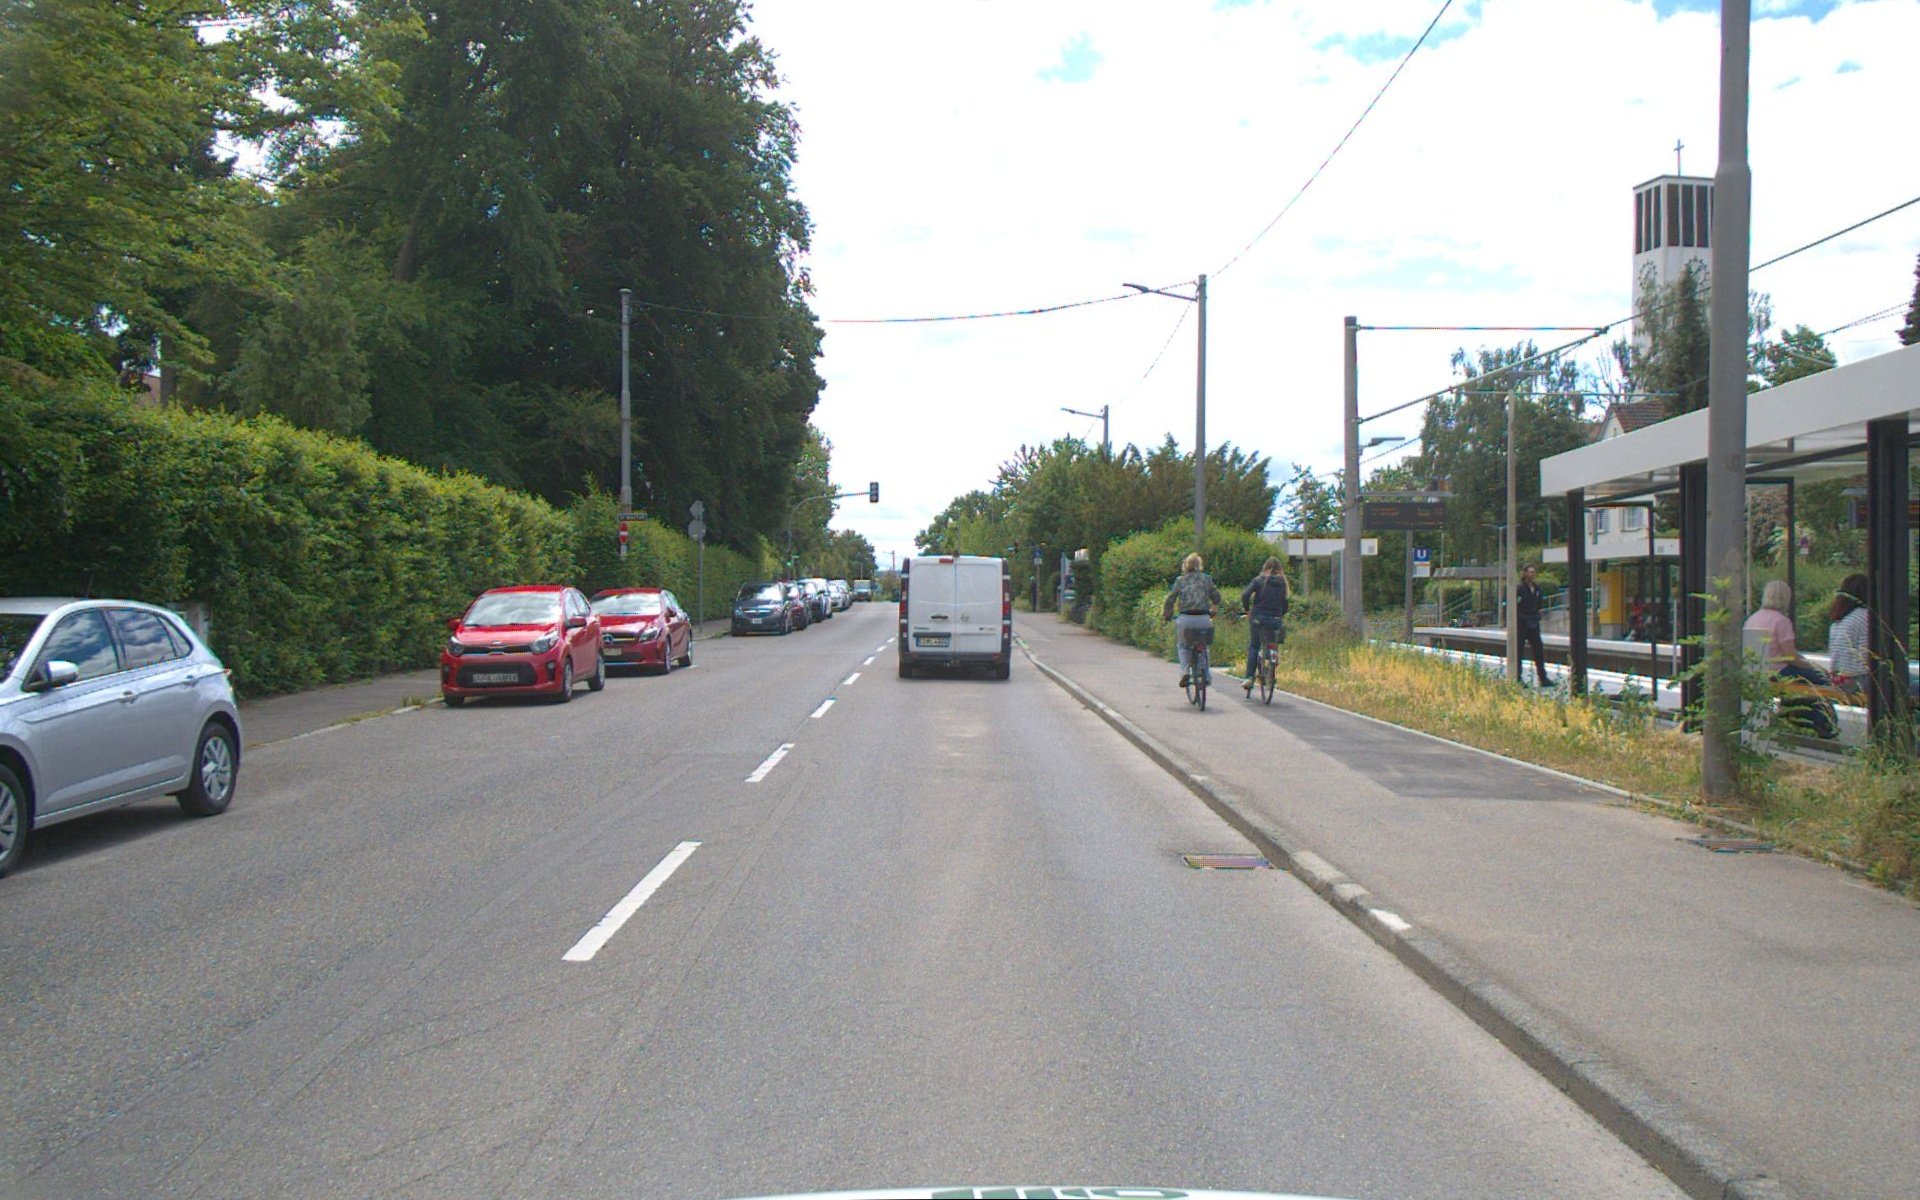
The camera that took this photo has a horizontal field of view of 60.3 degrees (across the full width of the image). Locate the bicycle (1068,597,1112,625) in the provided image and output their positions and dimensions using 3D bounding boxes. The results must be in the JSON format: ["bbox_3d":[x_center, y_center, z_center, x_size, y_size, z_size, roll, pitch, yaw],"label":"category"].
[{"bbox_3d":[5.005,0.429,63.694,1.664,1.048,0.491,1,0,-2],"label":"bicycle"}]

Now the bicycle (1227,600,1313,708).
[{"bbox_3d":[3.923,0.651,21.114,0.606,1.268,2.395,1,1,-1],"label":"bicycle"}]

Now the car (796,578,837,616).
[{"bbox_3d":[-6.844,-0.148,79.388,1.726,1.787,3.814,-1,0,-2],"label":"car"}]

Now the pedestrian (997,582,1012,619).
[{"bbox_3d":[2.256,0.014,84.200,0.666,1.873,0.646,1,0,5],"label":"pedestrian"}]

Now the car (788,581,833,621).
[{"bbox_3d":[-6.515,0.012,72.422,1.726,1.685,3.814,-1,0,-2],"label":"car"}]

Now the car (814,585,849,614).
[{"bbox_3d":[-7.207,-0.046,92.950,1.726,1.584,3.814,-1,0,-2],"label":"car"}]

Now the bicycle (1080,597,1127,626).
[{"bbox_3d":[5.311,0.429,61.295,1.664,1.048,0.491,1,0,-2],"label":"bicycle"}]

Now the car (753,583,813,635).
[{"bbox_3d":[-6.005,0.287,56.453,1.726,1.685,4.060,-1,0,-2],"label":"car"}]

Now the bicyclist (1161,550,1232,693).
[{"bbox_3d":[2.783,0.244,19.534,0.703,1.640,0.757,1,0,-1],"label":"bicyclist"}]

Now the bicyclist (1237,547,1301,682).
[{"bbox_3d":[3.914,0.176,20.964,0.626,1.678,0.819,1,0,-1],"label":"bicyclist"}]

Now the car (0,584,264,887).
[{"bbox_3d":[-5.708,0.697,9.473,1.701,1.531,3.963,-1,0,1],"label":"car"}]

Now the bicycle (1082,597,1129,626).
[{"bbox_3d":[5.327,0.431,60.740,1.664,1.048,0.491,1,0,-2],"label":"bicycle"}]

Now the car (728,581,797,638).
[{"bbox_3d":[-5.994,0.270,50.541,1.726,1.654,4.184,-1,0,-2],"label":"car"}]

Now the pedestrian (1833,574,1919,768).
[{"bbox_3d":[6.653,0.502,12.017,0.476,1.367,0.396,1,0,20],"label":"pedestrian"}]

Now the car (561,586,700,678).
[{"bbox_3d":[-5.715,0.503,29.145,1.726,1.497,4.184,-1,0,-2],"label":"car"}]

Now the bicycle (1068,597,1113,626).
[{"bbox_3d":[4.981,0.435,63.136,1.664,1.048,0.491,1,0,-2],"label":"bicycle"}]

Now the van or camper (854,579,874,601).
[{"bbox_3d":[-10.157,-1.024,174.654,1.965,2.301,4.607,-1,0,-5],"label":"van or camper"}]

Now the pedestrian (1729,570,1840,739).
[{"bbox_3d":[7.035,0.451,14.142,0.570,1.404,0.740,1,0,1],"label":"pedestrian"}]

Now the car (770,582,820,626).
[{"bbox_3d":[-6.663,0.135,66.933,1.726,1.685,3.814,-1,0,-2],"label":"car"}]

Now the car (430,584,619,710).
[{"bbox_3d":[-5.767,0.572,22.262,1.556,1.531,3.515,-1,0,1],"label":"car"}]

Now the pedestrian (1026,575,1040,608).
[{"bbox_3d":[3.815,-0.441,86.331,0.660,1.726,0.522,1,0,4],"label":"pedestrian"}]

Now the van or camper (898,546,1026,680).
[{"bbox_3d":[0.025,0.214,28.163,1.953,2.049,4.445,2,0,0],"label":"van or camper"}]

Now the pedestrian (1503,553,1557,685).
[{"bbox_3d":[7.718,0.249,22.402,0.624,1.755,0.655,1,0,15],"label":"pedestrian"}]

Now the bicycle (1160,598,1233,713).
[{"bbox_3d":[2.789,0.621,19.678,0.535,1.268,2.055,1,1,-1],"label":"bicycle"}]
